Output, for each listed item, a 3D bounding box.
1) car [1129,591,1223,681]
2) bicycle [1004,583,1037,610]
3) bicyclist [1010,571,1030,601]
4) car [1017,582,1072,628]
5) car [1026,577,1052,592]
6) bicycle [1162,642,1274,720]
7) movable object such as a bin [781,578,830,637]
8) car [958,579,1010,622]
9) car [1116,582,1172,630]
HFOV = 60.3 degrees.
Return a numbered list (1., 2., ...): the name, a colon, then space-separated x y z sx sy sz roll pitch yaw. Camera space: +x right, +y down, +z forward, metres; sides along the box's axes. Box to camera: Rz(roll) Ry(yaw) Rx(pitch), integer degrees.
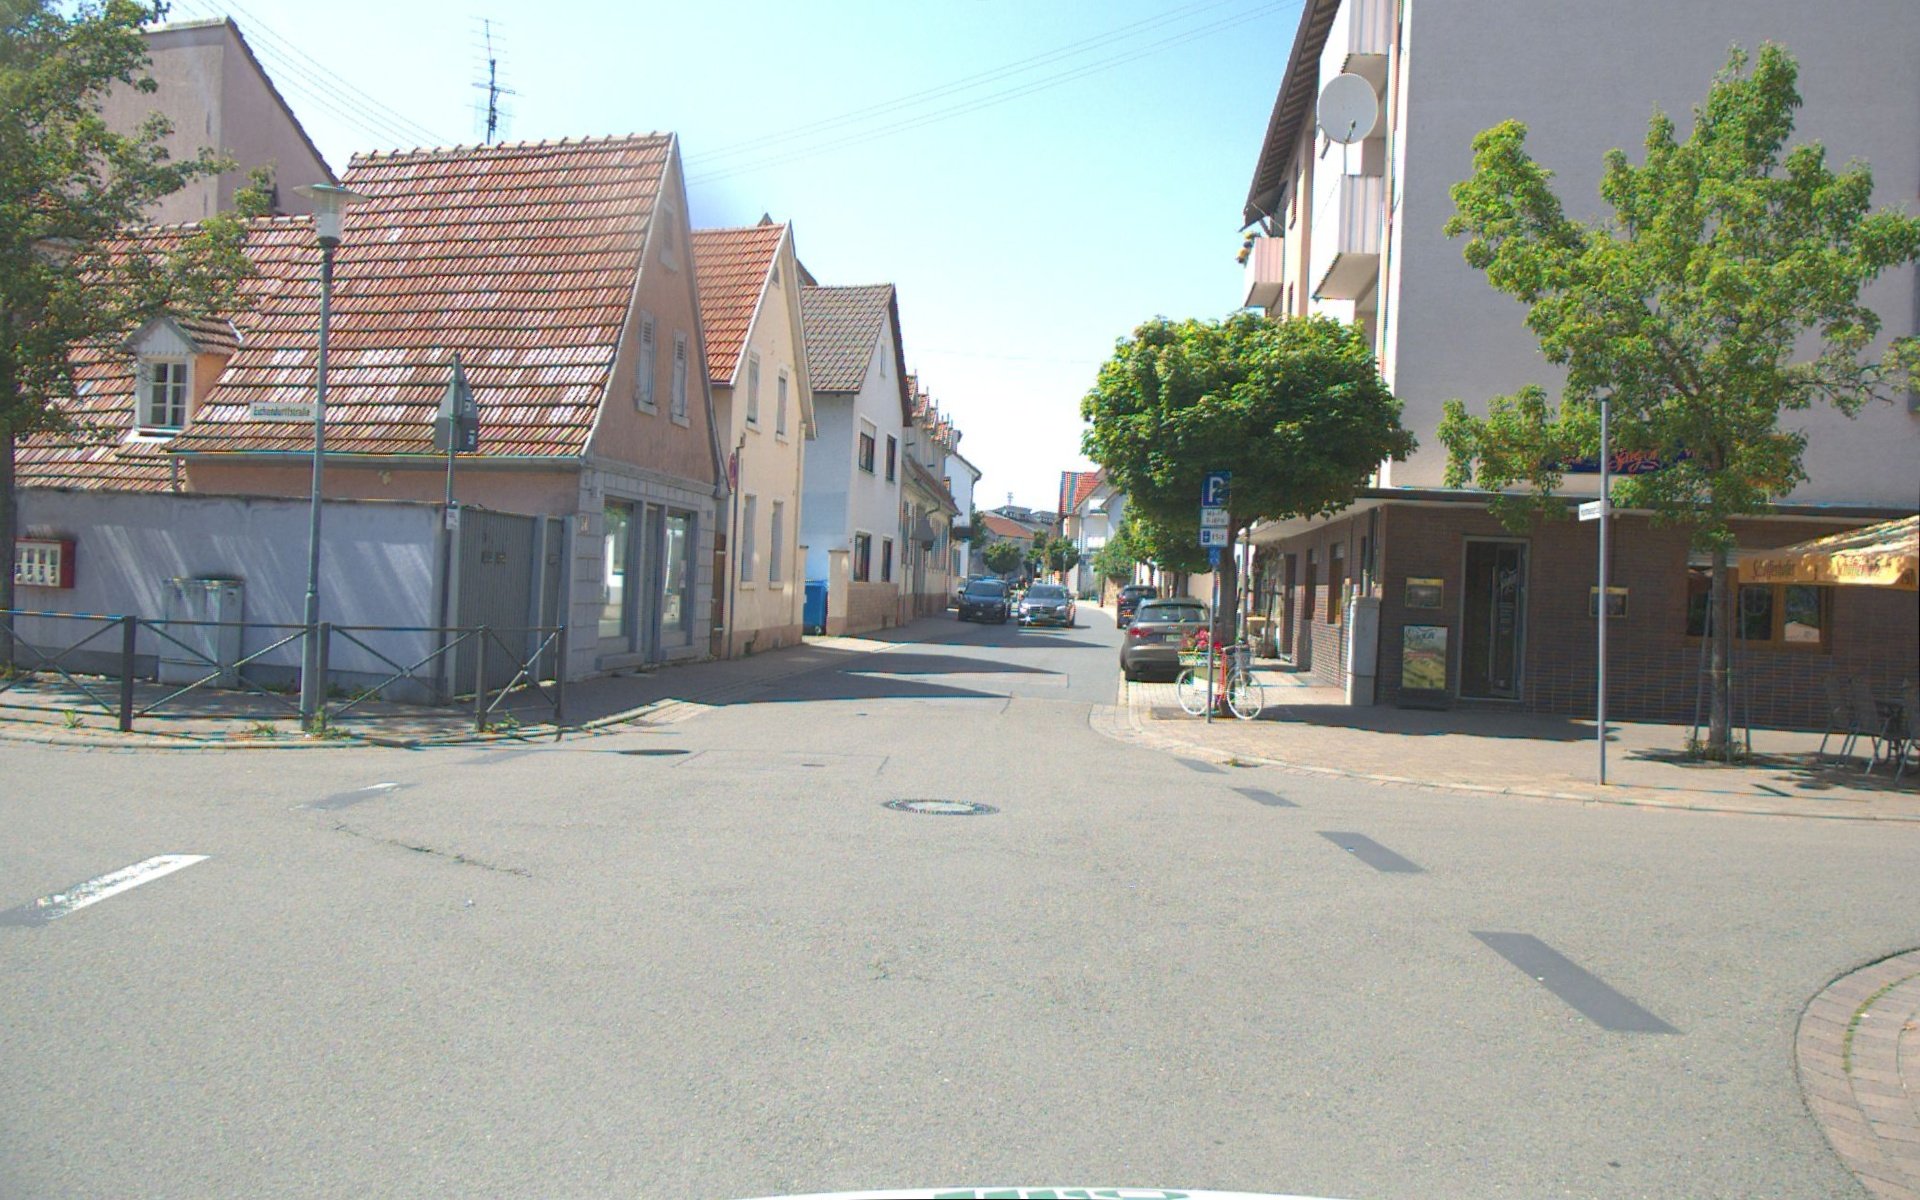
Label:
1. car: 3.871 0.608 29.790 1.542 1.479 3.488 2 0 7
2. bicycle: 3.342 -0.211 91.747 1.590 1.394 3.925 2 1 -1
3. bicyclist: 3.327 -0.776 91.636 1.025 1.666 1.128 2 0 -1
4. car: 3.103 0.146 60.390 1.869 1.507 4.846 2 1 3
5. car: 9.401 -1.843 196.714 1.984 1.626 4.512 2 1 16
6. bicycle: 3.296 1.018 21.176 1.389 0.912 0.462 1 1 42
7. movable object such as a bin: -3.749 0.182 40.103 1.078 1.389 0.390 2 0 9
8. car: 0.904 0.005 61.205 1.628 1.501 4.137 2 1 4
9. car: 7.026 0.214 63.533 2.000 1.718 4.844 2 1 5
